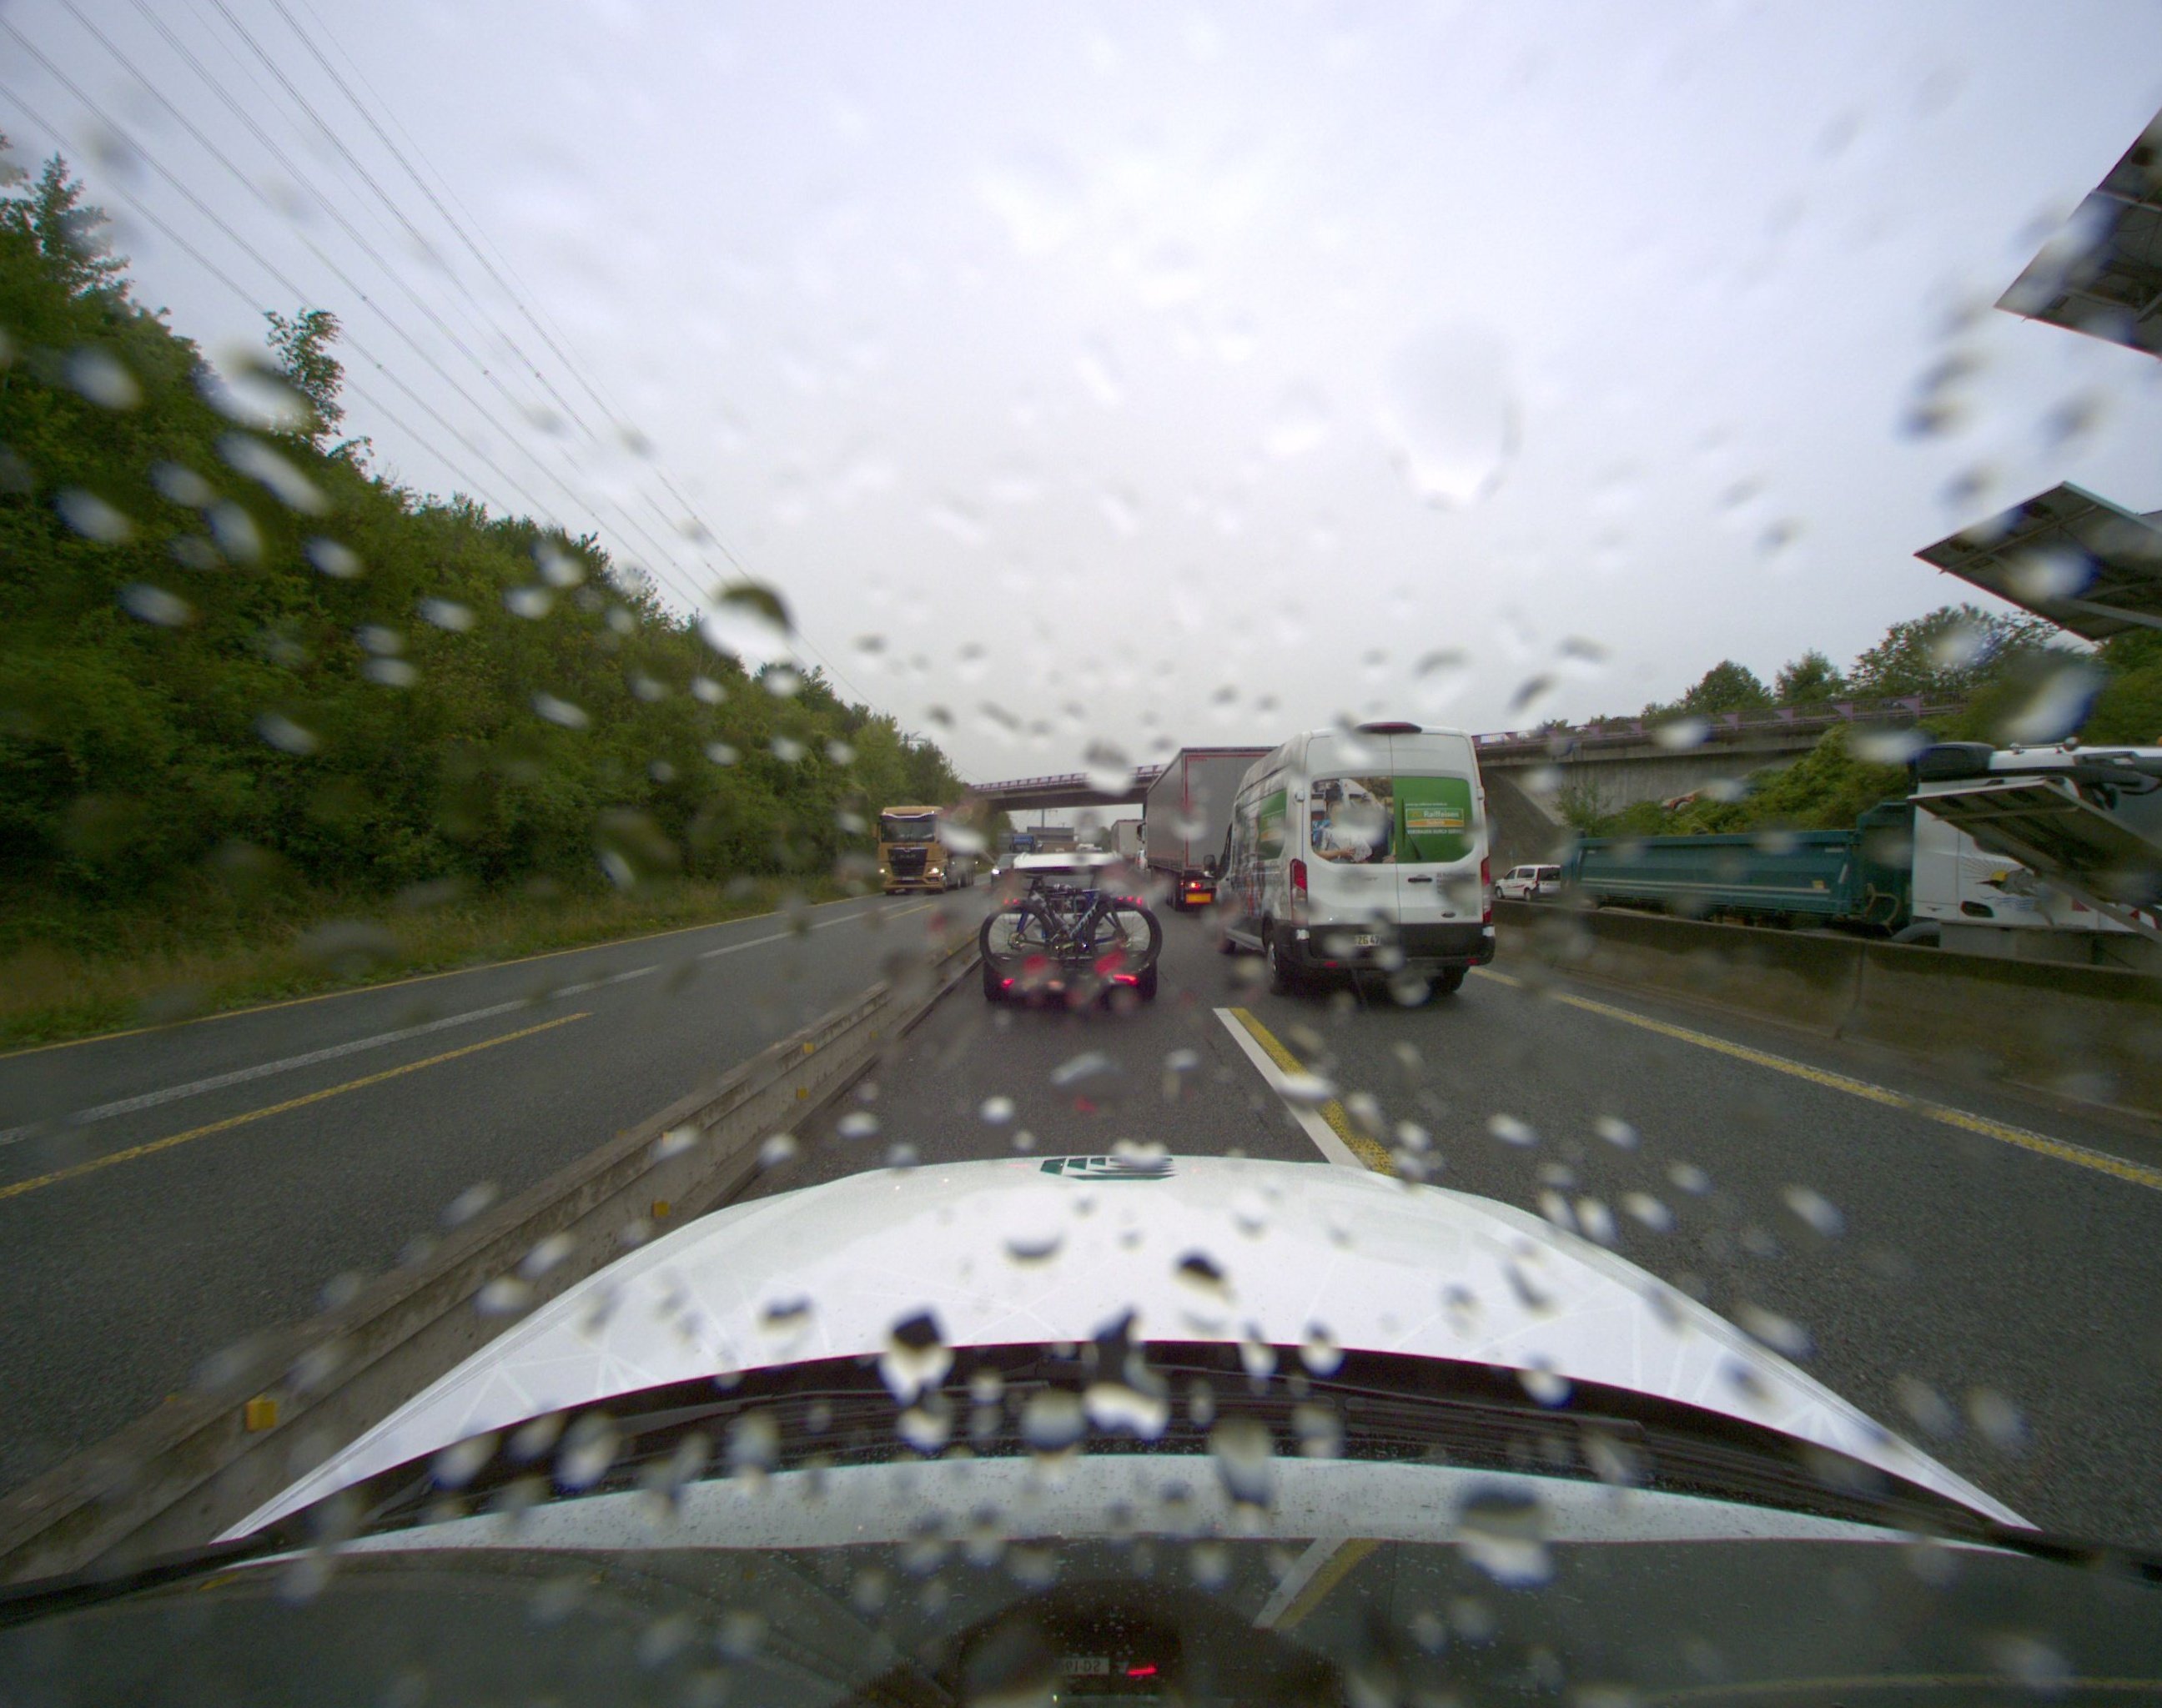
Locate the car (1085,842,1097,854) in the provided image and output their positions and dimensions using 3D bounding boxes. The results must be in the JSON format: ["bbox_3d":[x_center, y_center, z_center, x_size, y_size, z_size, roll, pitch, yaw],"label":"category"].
[{"bbox_3d":[2.054,-1.192,168.113,2.231,2.307,4.573,-1,-1,1],"label":"car"}]

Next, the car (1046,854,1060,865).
[{"bbox_3d":[-4.019,0.766,117.484,1.778,1.610,4.103,-1,-1,0],"label":"car"}]

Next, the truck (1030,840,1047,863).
[{"bbox_3d":[-7.874,-0.474,151.486,2.456,4.123,10.087,-1,-1,0],"label":"truck"}]

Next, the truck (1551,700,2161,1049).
[{"bbox_3d":[10.682,0.203,11.882,2.511,3.132,9.120,-1,-1,1],"label":"truck"}]

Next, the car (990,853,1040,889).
[{"bbox_3d":[-3.086,0.785,38.745,1.928,1.607,4.121,-1,-1,1],"label":"car"}]

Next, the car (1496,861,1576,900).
[{"bbox_3d":[22.421,1.244,40.333,1.839,1.809,4.160,-1,-1,3],"label":"car"}]

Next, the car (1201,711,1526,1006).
[{"bbox_3d":[3.030,0.065,10.507,2.137,2.676,6.118,-1,-1,1],"label":"car"}]

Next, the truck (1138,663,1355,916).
[{"bbox_3d":[4.440,-1.387,28.565,3.965,5.673,20.381,-1,0,2],"label":"truck"}]

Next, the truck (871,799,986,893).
[{"bbox_3d":[-6.651,-0.261,37.812,2.671,3.656,12.315,-1,0,2],"label":"truck"}]

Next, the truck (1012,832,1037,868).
[{"bbox_3d":[-7.003,-0.418,101.241,2.760,4.123,16.901,-1,0,-4],"label":"truck"}]

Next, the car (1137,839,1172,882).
[{"bbox_3d":[3.898,0.366,43.773,1.663,2.180,4.537,-1,-1,2],"label":"car"}]

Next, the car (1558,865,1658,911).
[{"bbox_3d":[22.015,1.367,34.225,1.721,1.745,4.127,-1,-1,3],"label":"car"}]

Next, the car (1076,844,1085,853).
[{"bbox_3d":[-0.142,-1.273,195.375,1.986,2.126,4.528,-1,-1,1],"label":"car"}]

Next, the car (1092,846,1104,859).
[{"bbox_3d":[2.820,-0.258,138.320,1.987,2.014,4.000,-1,-1,0],"label":"car"}]

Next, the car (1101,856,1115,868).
[{"bbox_3d":[3.267,0.977,98.964,1.632,1.497,3.667,-1,-1,1],"label":"car"}]

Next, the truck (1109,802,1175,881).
[{"bbox_3d":[4.857,-0.818,68.930,4.724,5.673,20.388,-1,0,3],"label":"truck"}]

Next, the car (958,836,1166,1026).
[{"bbox_3d":[-0.064,0.689,9.409,1.803,1.637,4.638,-1,-1,2],"label":"car"}]

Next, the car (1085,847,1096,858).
[{"bbox_3d":[1.815,-0.349,155.485,1.986,2.014,4.001,-1,-1,1],"label":"car"}]

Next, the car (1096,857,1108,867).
[{"bbox_3d":[3.192,1.252,123.559,1.632,1.497,3.667,-1,-1,1],"label":"car"}]
